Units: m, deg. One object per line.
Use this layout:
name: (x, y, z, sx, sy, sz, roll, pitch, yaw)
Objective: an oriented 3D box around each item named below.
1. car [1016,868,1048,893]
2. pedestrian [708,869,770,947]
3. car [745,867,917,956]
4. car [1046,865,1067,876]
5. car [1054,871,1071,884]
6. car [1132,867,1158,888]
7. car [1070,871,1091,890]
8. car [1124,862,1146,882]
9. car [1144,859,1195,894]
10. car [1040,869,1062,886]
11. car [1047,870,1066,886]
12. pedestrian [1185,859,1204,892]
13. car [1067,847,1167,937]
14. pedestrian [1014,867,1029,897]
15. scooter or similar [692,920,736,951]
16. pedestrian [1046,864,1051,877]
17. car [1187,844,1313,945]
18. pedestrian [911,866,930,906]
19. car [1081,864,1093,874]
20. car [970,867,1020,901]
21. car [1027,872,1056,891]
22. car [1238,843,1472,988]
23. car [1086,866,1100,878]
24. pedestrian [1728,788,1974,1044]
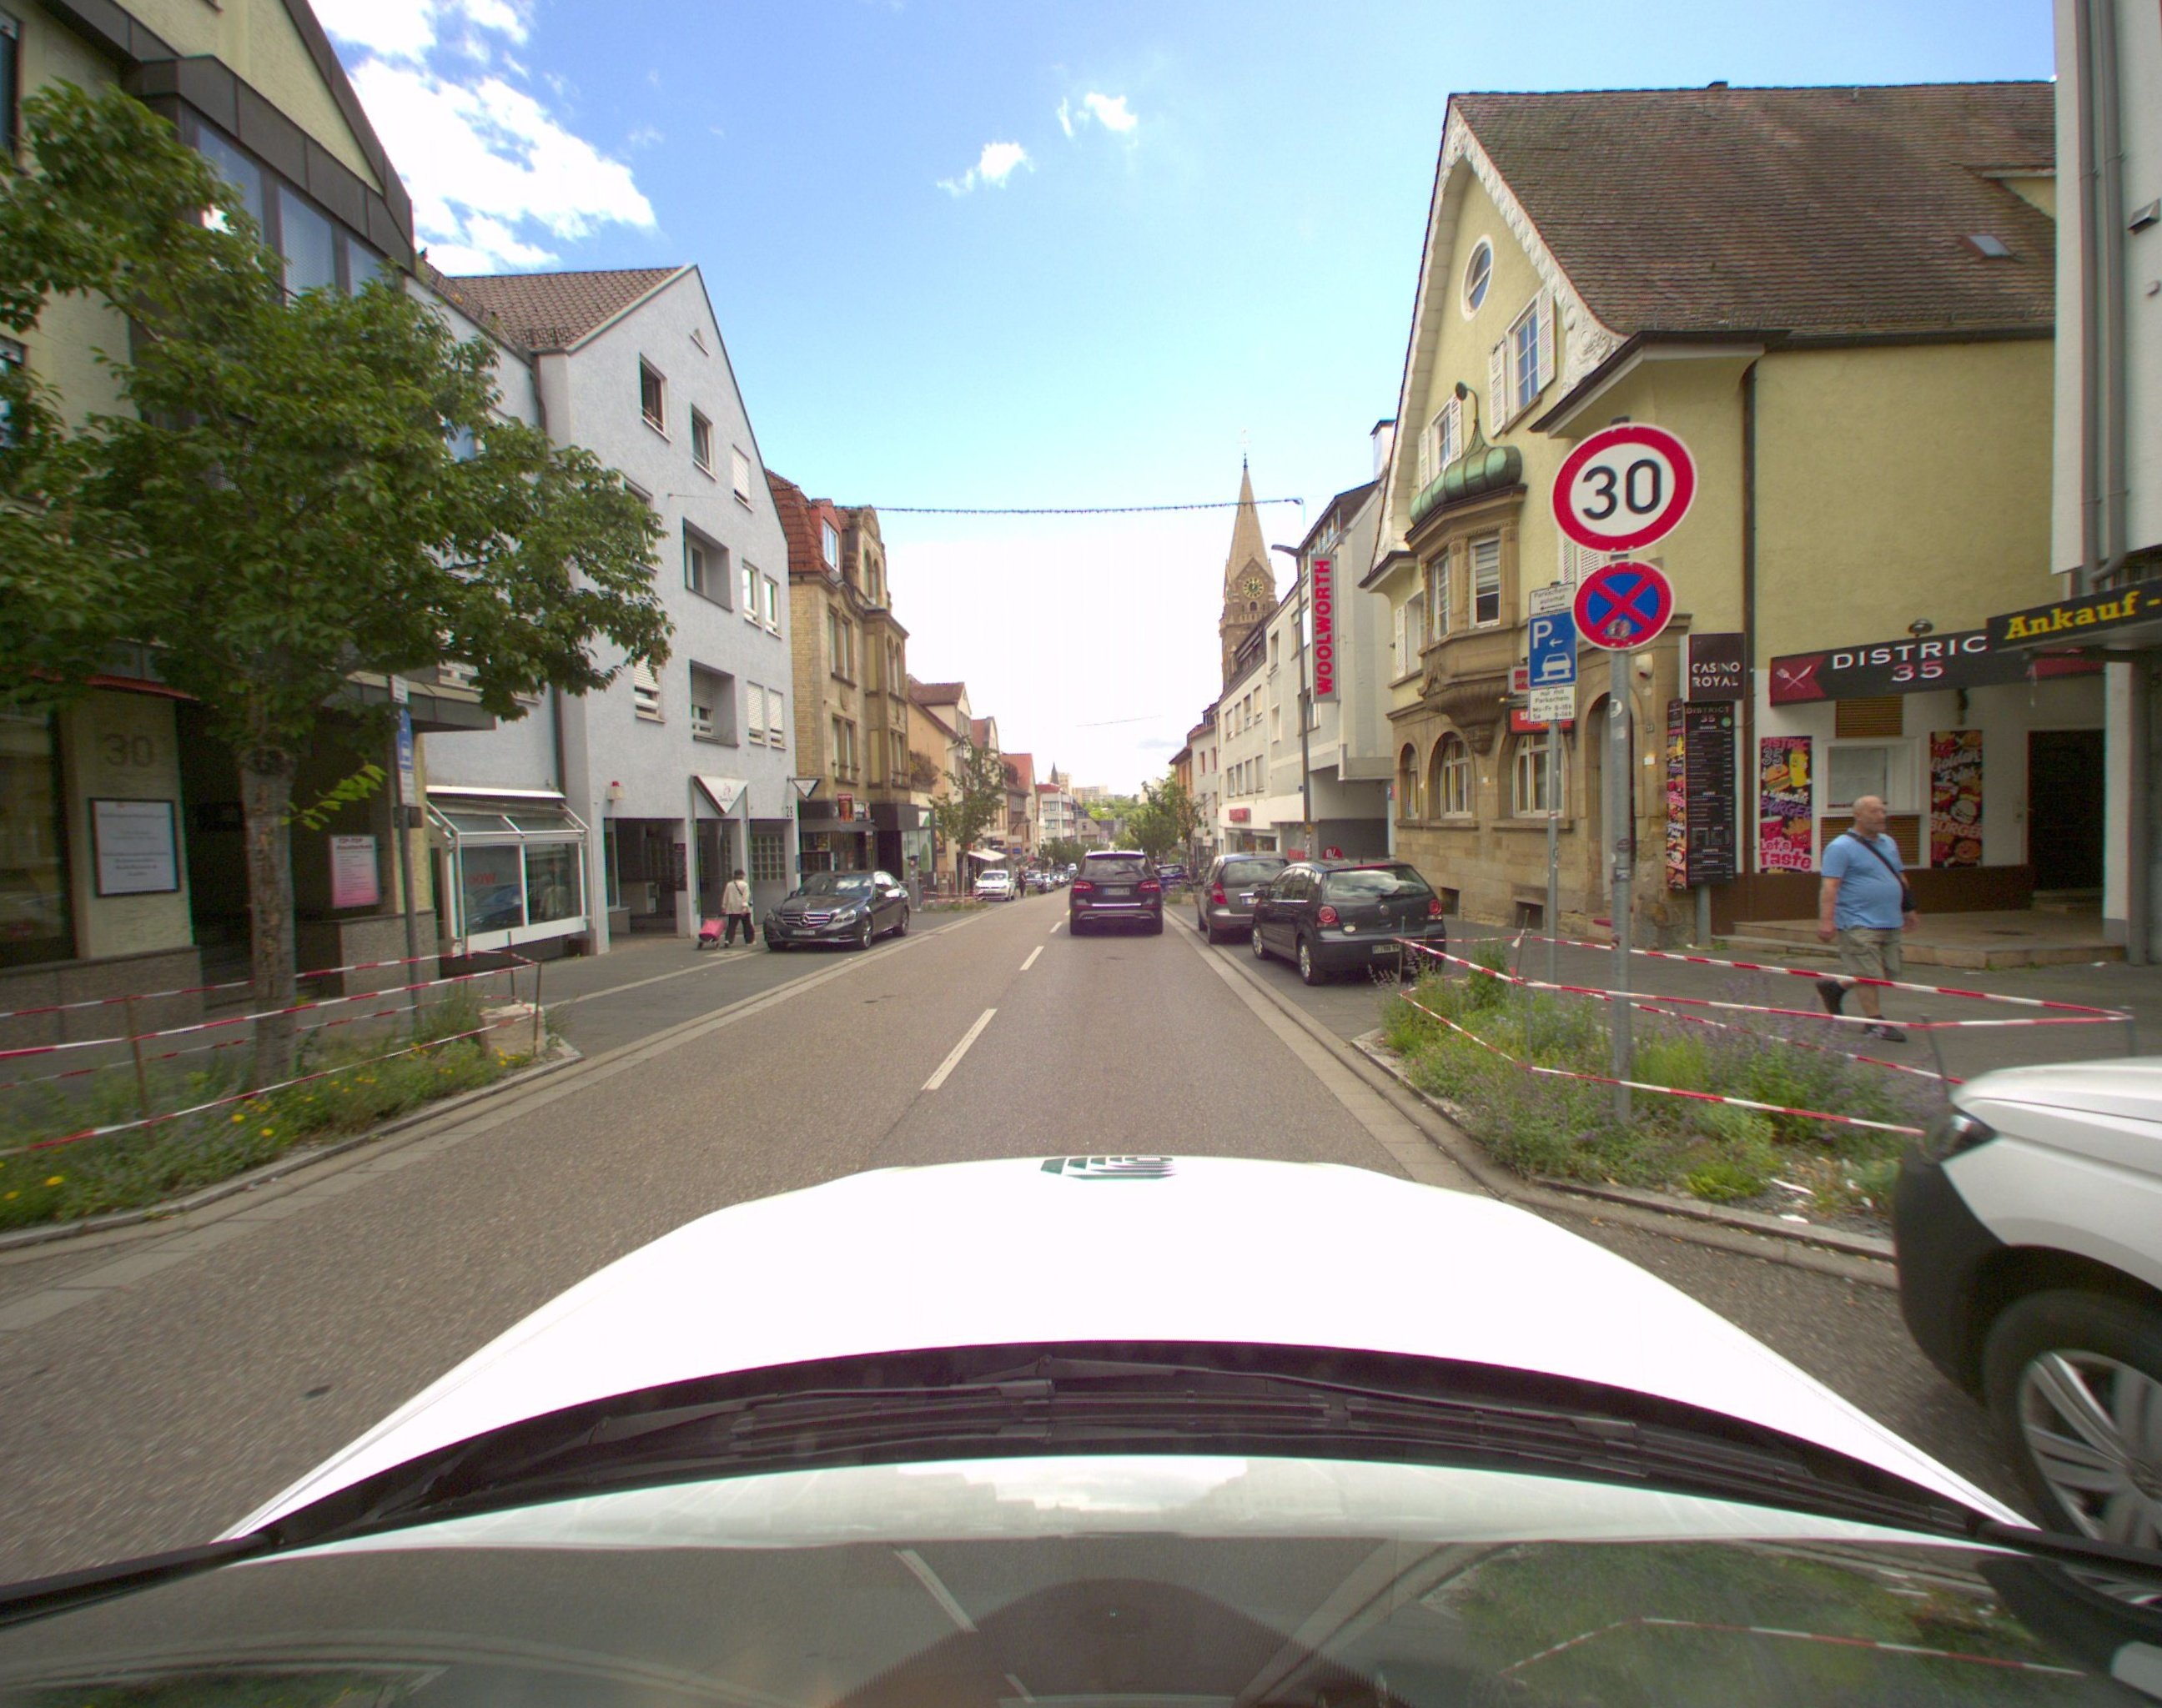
car: (-3.353, 1.839, 56.571, 1.920, 1.621, 4.639, 0, -1, 1)
pedestrian: (-6.605, 1.020, 15.774, 0.823, 1.463, 0.810, 1, -1, 1)
car: (-4.838, 1.039, 16.610, 1.920, 1.492, 4.843, 1, -1, 1)
car: (-4.605, 3.131, 153.091, 3.977, 1.750, 1.998, -4, -1, -2)
car: (-2.334, 2.912, 101.691, 1.920, 1.497, 4.262, 1, -1, 1)
car: (5.161, 1.868, 66.270, 1.742, 1.465, 4.075, -5, -1, 1)
car: (-0.086, 2.482, 75.386, 1.813, 1.618, 4.133, -3, -2, -1)
car: (5.511, 1.865, 83.777, 1.931, 1.891, 4.707, -4, -1, 1)
car: (4.202, 1.100, 39.253, 1.744, 1.498, 3.795, -4, -2, -3)
car: (-2.863, 2.216, 77.974, 1.921, 1.497, 4.260, -2, -1, -1)
car: (-2.499, 2.512, 85.261, 1.921, 1.595, 4.455, 1, -1, -1)
pedestrian: (5.641, 1.068, 40.636, 0.754, 1.561, 0.817, -3, -1, -1)
car: (0.793, 0.758, 18.020, 1.936, 1.740, 4.181, -1, 0, 2)
pedestrian: (-3.349, 1.551, 45.803, 0.735, 1.672, 0.862, -1, -1, -1)
scooter or similar: (-6.773, 1.507, 15.036, 0.523, 0.519, 0.573, 1, -1, 1)
pedestrian: (-4.081, 2.077, 101.896, 0.638, 1.668, 0.720, -1, -2, 1)
car: (3.111, 0.705, 15.735, 1.741, 1.608, 3.802, -3, -1, 3)
pedestrian: (-5.846, 1.159, 29.704, 0.487, 1.463, 0.561, 0, -1, 11)
car: (1.054, 2.662, 142.645, 1.919, 1.628, 4.264, 1, -1, 2)
car: (-4.090, 1.408, 39.320, 1.920, 1.511, 4.262, 0, -1, 1)
car: (-3.078, 2.144, 64.336, 1.919, 1.430, 4.264, -1, -1, 3)
car: (3.408, 0.704, 10.956, 1.743, 1.509, 3.873, -3, -1, -1)
car: (1.881, 2.745, 124.910, 1.985, 1.718, 4.447, -2, -1, 1)
pedestrian: (5.714, 0.432, 6.133, 0.793, 1.727, 1.053, -2, -1, 2)
